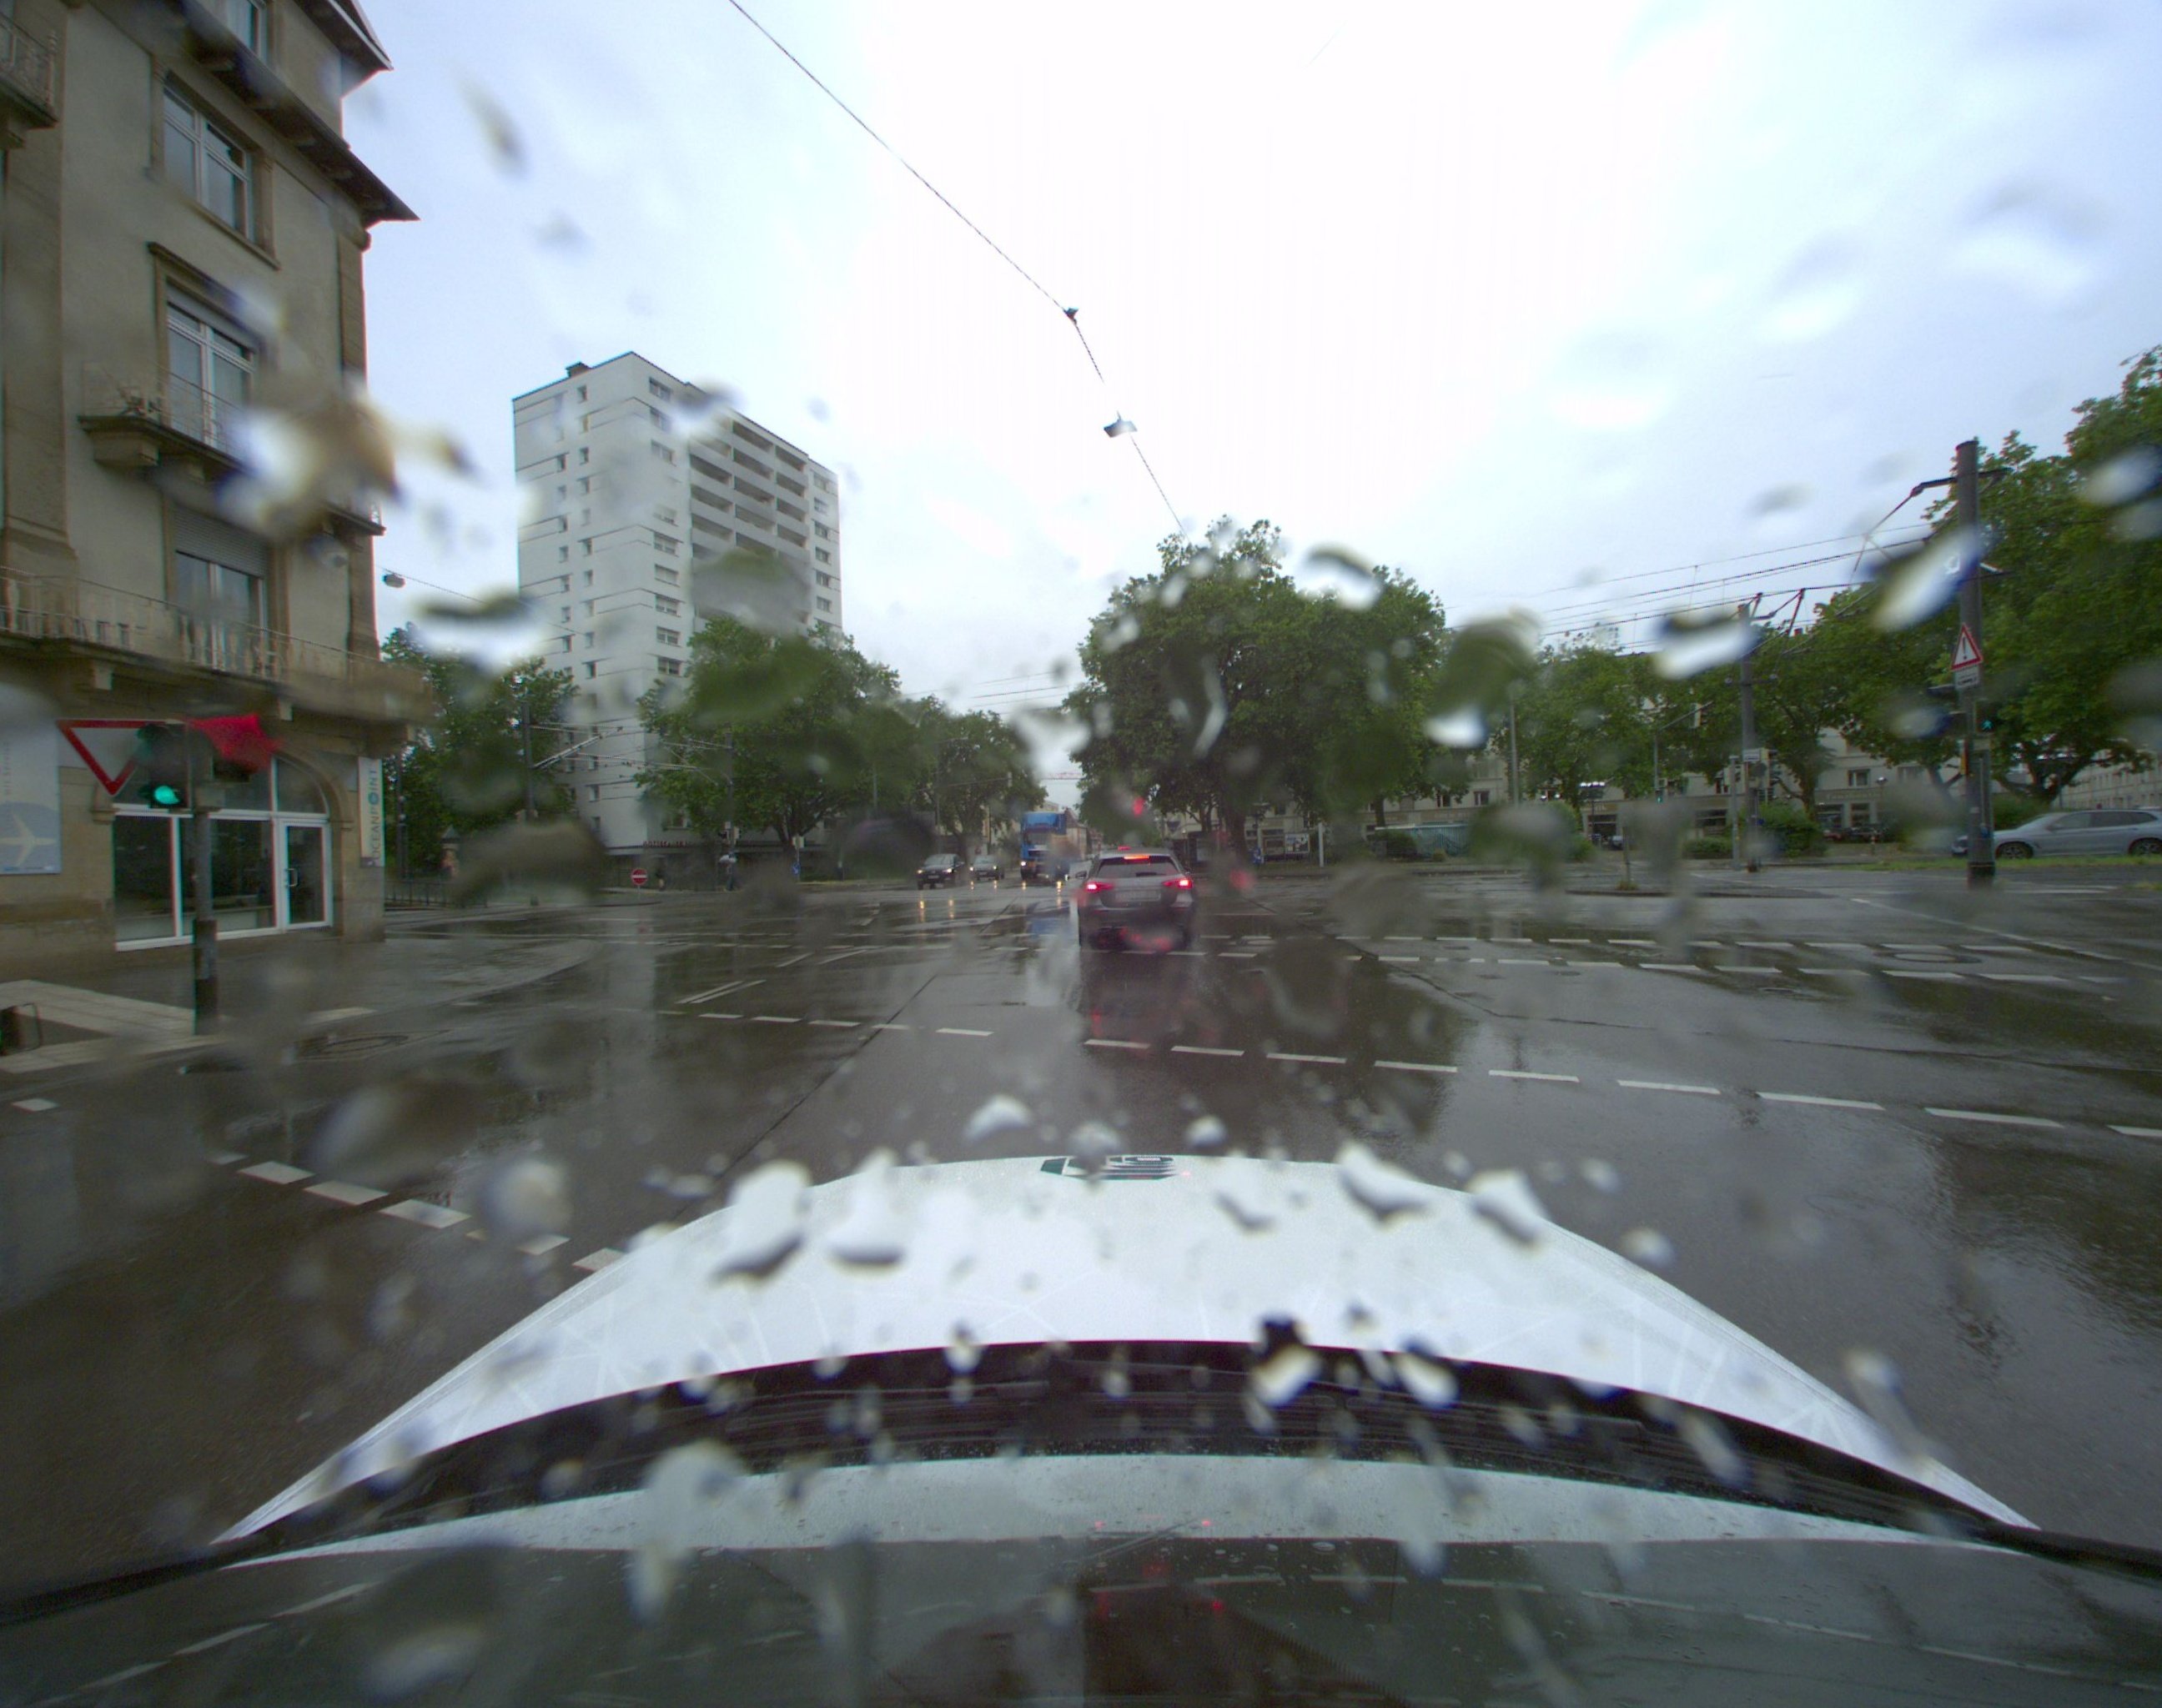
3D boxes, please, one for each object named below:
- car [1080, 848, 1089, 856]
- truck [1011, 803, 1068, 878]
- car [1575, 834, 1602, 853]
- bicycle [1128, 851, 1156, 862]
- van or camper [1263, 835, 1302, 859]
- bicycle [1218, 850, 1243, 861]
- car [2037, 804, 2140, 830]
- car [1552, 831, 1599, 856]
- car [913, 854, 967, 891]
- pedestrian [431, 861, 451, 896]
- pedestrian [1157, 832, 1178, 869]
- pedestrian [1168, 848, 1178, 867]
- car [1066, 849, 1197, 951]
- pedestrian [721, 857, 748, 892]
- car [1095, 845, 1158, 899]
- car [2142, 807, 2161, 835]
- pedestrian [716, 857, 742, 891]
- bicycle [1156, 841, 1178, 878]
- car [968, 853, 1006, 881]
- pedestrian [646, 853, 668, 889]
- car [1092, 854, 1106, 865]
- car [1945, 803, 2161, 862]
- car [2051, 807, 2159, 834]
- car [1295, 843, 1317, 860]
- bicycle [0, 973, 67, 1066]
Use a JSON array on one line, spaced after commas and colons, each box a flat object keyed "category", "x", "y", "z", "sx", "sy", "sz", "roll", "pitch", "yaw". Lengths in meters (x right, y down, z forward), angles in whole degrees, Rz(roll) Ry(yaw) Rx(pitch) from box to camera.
[{"category": "car", "x": 0.799, "y": -0.428, "z": 199.660, "sx": 1.881, "sy": 1.836, "sz": 4.004, "roll": -2, "pitch": 0, "yaw": 4}, {"category": "truck", "x": -2.354, "y": -0.745, "z": 50.040, "sx": 2.837, "sy": 4.025, "sz": 10.314, "roll": -3, "pitch": 0, "yaw": 0}, {"category": "car", "x": 44.425, "y": -0.873, "z": 71.297, "sx": 1.535, "sy": 1.467, "sz": 3.385, "roll": -3, "pitch": -2, "yaw": 25}, {"category": "bicycle", "x": 7.291, "y": 0.333, "z": 97.321, "sx": 3.215, "sy": 1.112, "sz": 1.047, "roll": -2, "pitch": -4, "yaw": -19}, {"category": "van or camper", "x": 20.086, "y": -0.739, "z": 80.912, "sx": 2.374, "sy": 2.231, "sz": 5.463, "roll": -3, "pitch": -1, "yaw": 28}, {"category": "bicycle", "x": 14.270, "y": 0.103, "z": 77.614, "sx": 2.226, "sy": 0.968, "sz": 0.588, "roll": -2, "pitch": 0, "yaw": 23}, {"category": "car", "x": 67.173, "y": -2.439, "z": 54.398, "sx": 3.950, "sy": 1.452, "sz": 1.687, "roll": -3, "pitch": -1, "yaw": 25}, {"category": "car", "x": 32.922, "y": -0.703, "z": 54.333, "sx": 1.650, "sy": 1.521, "sz": 3.694, "roll": -3, "pitch": 0, "yaw": 15}, {"category": "car", "x": -6.376, "y": 0.798, "z": 37.280, "sx": 1.738, "sy": 1.546, "sz": 3.778, "roll": -3, "pitch": 0, "yaw": 0}, {"category": "pedestrian", "x": -39.599, "y": 1.512, "z": 50.421, "sx": 0.694, "sy": 2.077, "sz": 0.640, "roll": -2, "pitch": 0, "yaw": 19}, {"category": "pedestrian", "x": 3.462, "y": -0.145, "z": 32.608, "sx": 0.740, "sy": 1.398, "sz": 1.049, "roll": -3, "pitch": 0, "yaw": 7}, {"category": "pedestrian", "x": 8.182, "y": 0.316, "z": 72.580, "sx": 0.717, "sy": 1.669, "sz": 0.662, "roll": -2, "pitch": -1, "yaw": -12}, {"category": "car", "x": 0.701, "y": 0.634, "z": 12.969, "sx": 1.785, "sy": 1.372, "sz": 3.506, "roll": -1, "pitch": 0, "yaw": 0}, {"category": "pedestrian", "x": -16.965, "y": 0.994, "z": 39.855, "sx": 0.829, "sy": 1.648, "sz": 0.759, "roll": -3, "pitch": 0, "yaw": 15}, {"category": "car", "x": 1.284, "y": 0.490, "z": 24.152, "sx": 1.602, "sy": 1.372, "sz": 4.000, "roll": -3, "pitch": 0, "yaw": 0}, {"category": "car", "x": 62.660, "y": -1.955, "z": 45.387, "sx": 3.848, "sy": 1.552, "sz": 1.838, "roll": -3, "pitch": -1, "yaw": 21}, {"category": "pedestrian", "x": -18.120, "y": 1.028, "z": 41.913, "sx": 0.785, "sy": 1.648, "sz": 0.820, "roll": -3, "pitch": 0, "yaw": 15}, {"category": "bicycle", "x": 3.454, "y": 0.195, "z": 32.407, "sx": 0.745, "sy": 1.377, "sz": 2.713, "roll": -3, "pitch": 0, "yaw": 7}, {"category": "car", "x": -5.713, "y": 0.767, "z": 49.979, "sx": 1.721, "sy": 1.546, "sz": 4.339, "roll": -3, "pitch": 0, "yaw": 0}, {"category": "pedestrian", "x": -22.107, "y": 0.894, "z": 42.490, "sx": 0.671, "sy": 1.838, "sz": 0.643, "roll": -3, "pitch": 0, "yaw": 23}, {"category": "car", "x": 2.680, "y": 0.772, "z": 123.733, "sx": 1.988, "sy": 1.574, "sz": 3.998, "roll": -2, "pitch": -1, "yaw": -1}, {"category": "car", "x": 30.316, "y": -0.645, "z": 25.221, "sx": 4.500, "sy": 1.599, "sz": 1.802, "roll": -2, "pitch": 0, "yaw": 23}, {"category": "car", "x": 65.723, "y": -2.121, "z": 52.356, "sx": 3.950, "sy": 1.452, "sz": 1.687, "roll": -3, "pitch": -1, "yaw": 25}, {"category": "car", "x": 22.079, "y": -0.242, "z": 79.746, "sx": 1.665, "sy": 1.575, "sz": 3.755, "roll": -2, "pitch": -1, "yaw": 21}, {"category": "bicycle", "x": -9.496, "y": 1.422, "z": 6.656, "sx": 1.046, "sy": 0.663, "sz": 1.464, "roll": 1, "pitch": -1, "yaw": -31}]
